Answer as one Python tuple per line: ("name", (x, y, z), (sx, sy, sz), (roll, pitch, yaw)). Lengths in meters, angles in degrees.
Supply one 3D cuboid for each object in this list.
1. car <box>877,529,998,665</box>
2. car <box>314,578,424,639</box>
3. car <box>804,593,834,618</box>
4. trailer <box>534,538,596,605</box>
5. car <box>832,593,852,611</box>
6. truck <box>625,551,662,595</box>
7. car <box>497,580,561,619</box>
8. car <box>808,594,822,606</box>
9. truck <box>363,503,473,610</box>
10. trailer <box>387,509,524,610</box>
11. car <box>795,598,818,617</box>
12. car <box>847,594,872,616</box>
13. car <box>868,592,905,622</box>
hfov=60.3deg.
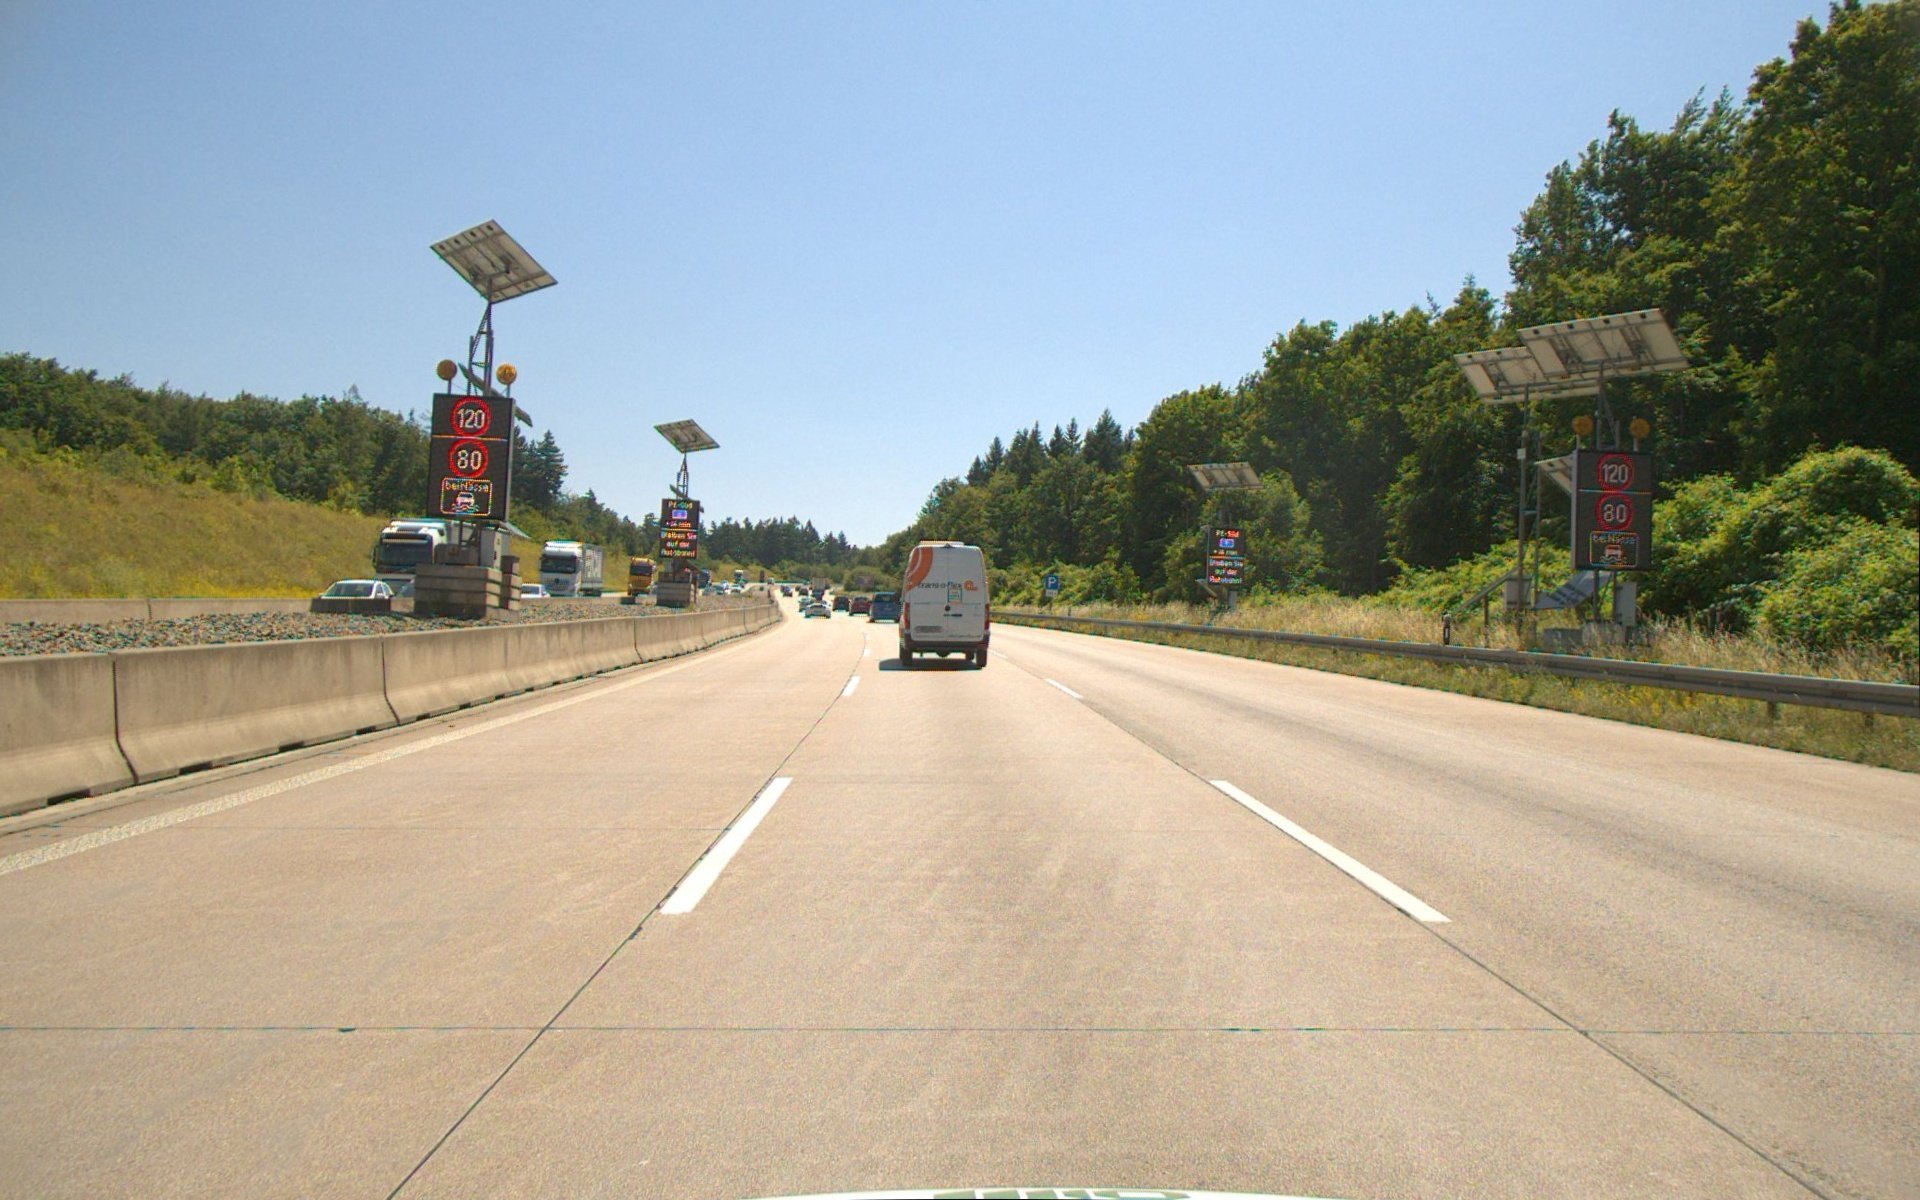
("car", (-0.614, -0.096, 38.564), (2.184, 2.894, 5.445), (1, 1, -7))
("car", (-17.514, 0.243, 49.191), (1.953, 1.713, 3.998), (0, 0, -2))
("car", (-10.291, 0.389, 121.044), (1.954, 1.713, 3.998), (3, 0, -3))
("trailer", (-26.663, -1.884, 111.926), (2.877, 4.241, 6.883), (3, 0, -5))
("car", (-12.538, 0.209, 176.546), (1.954, 1.713, 3.998), (3, 0, -3))
("truck", (-34.211, -2.841, 178.961), (2.857, 4.592, 11.245), (1, 0, -6))
("car", (-19.478, -0.015, 74.927), (1.953, 1.713, 3.998), (0, 0, -2))
("car", (-22.379, -0.046, 255.645), (1.954, 1.713, 3.998), (3, 0, -3))
("truck", (-23.255, -1.775, 71.299), (2.876, 4.241, 6.224), (3, 0, -4))
("trailer", (-23.746, -1.748, 78.851), (2.876, 4.241, 14.376), (3, 0, -4))
("car", (-14.799, 0.691, 159.980), (1.954, 1.713, 3.998), (3, 0, -3))
("car", (-8.412, 0.382, 138.852), (1.954, 1.713, 3.998), (3, 0, -3))
("car", (-4.689, 0.437, 104.948), (1.956, 1.713, 3.993), (3, 0, -7))
